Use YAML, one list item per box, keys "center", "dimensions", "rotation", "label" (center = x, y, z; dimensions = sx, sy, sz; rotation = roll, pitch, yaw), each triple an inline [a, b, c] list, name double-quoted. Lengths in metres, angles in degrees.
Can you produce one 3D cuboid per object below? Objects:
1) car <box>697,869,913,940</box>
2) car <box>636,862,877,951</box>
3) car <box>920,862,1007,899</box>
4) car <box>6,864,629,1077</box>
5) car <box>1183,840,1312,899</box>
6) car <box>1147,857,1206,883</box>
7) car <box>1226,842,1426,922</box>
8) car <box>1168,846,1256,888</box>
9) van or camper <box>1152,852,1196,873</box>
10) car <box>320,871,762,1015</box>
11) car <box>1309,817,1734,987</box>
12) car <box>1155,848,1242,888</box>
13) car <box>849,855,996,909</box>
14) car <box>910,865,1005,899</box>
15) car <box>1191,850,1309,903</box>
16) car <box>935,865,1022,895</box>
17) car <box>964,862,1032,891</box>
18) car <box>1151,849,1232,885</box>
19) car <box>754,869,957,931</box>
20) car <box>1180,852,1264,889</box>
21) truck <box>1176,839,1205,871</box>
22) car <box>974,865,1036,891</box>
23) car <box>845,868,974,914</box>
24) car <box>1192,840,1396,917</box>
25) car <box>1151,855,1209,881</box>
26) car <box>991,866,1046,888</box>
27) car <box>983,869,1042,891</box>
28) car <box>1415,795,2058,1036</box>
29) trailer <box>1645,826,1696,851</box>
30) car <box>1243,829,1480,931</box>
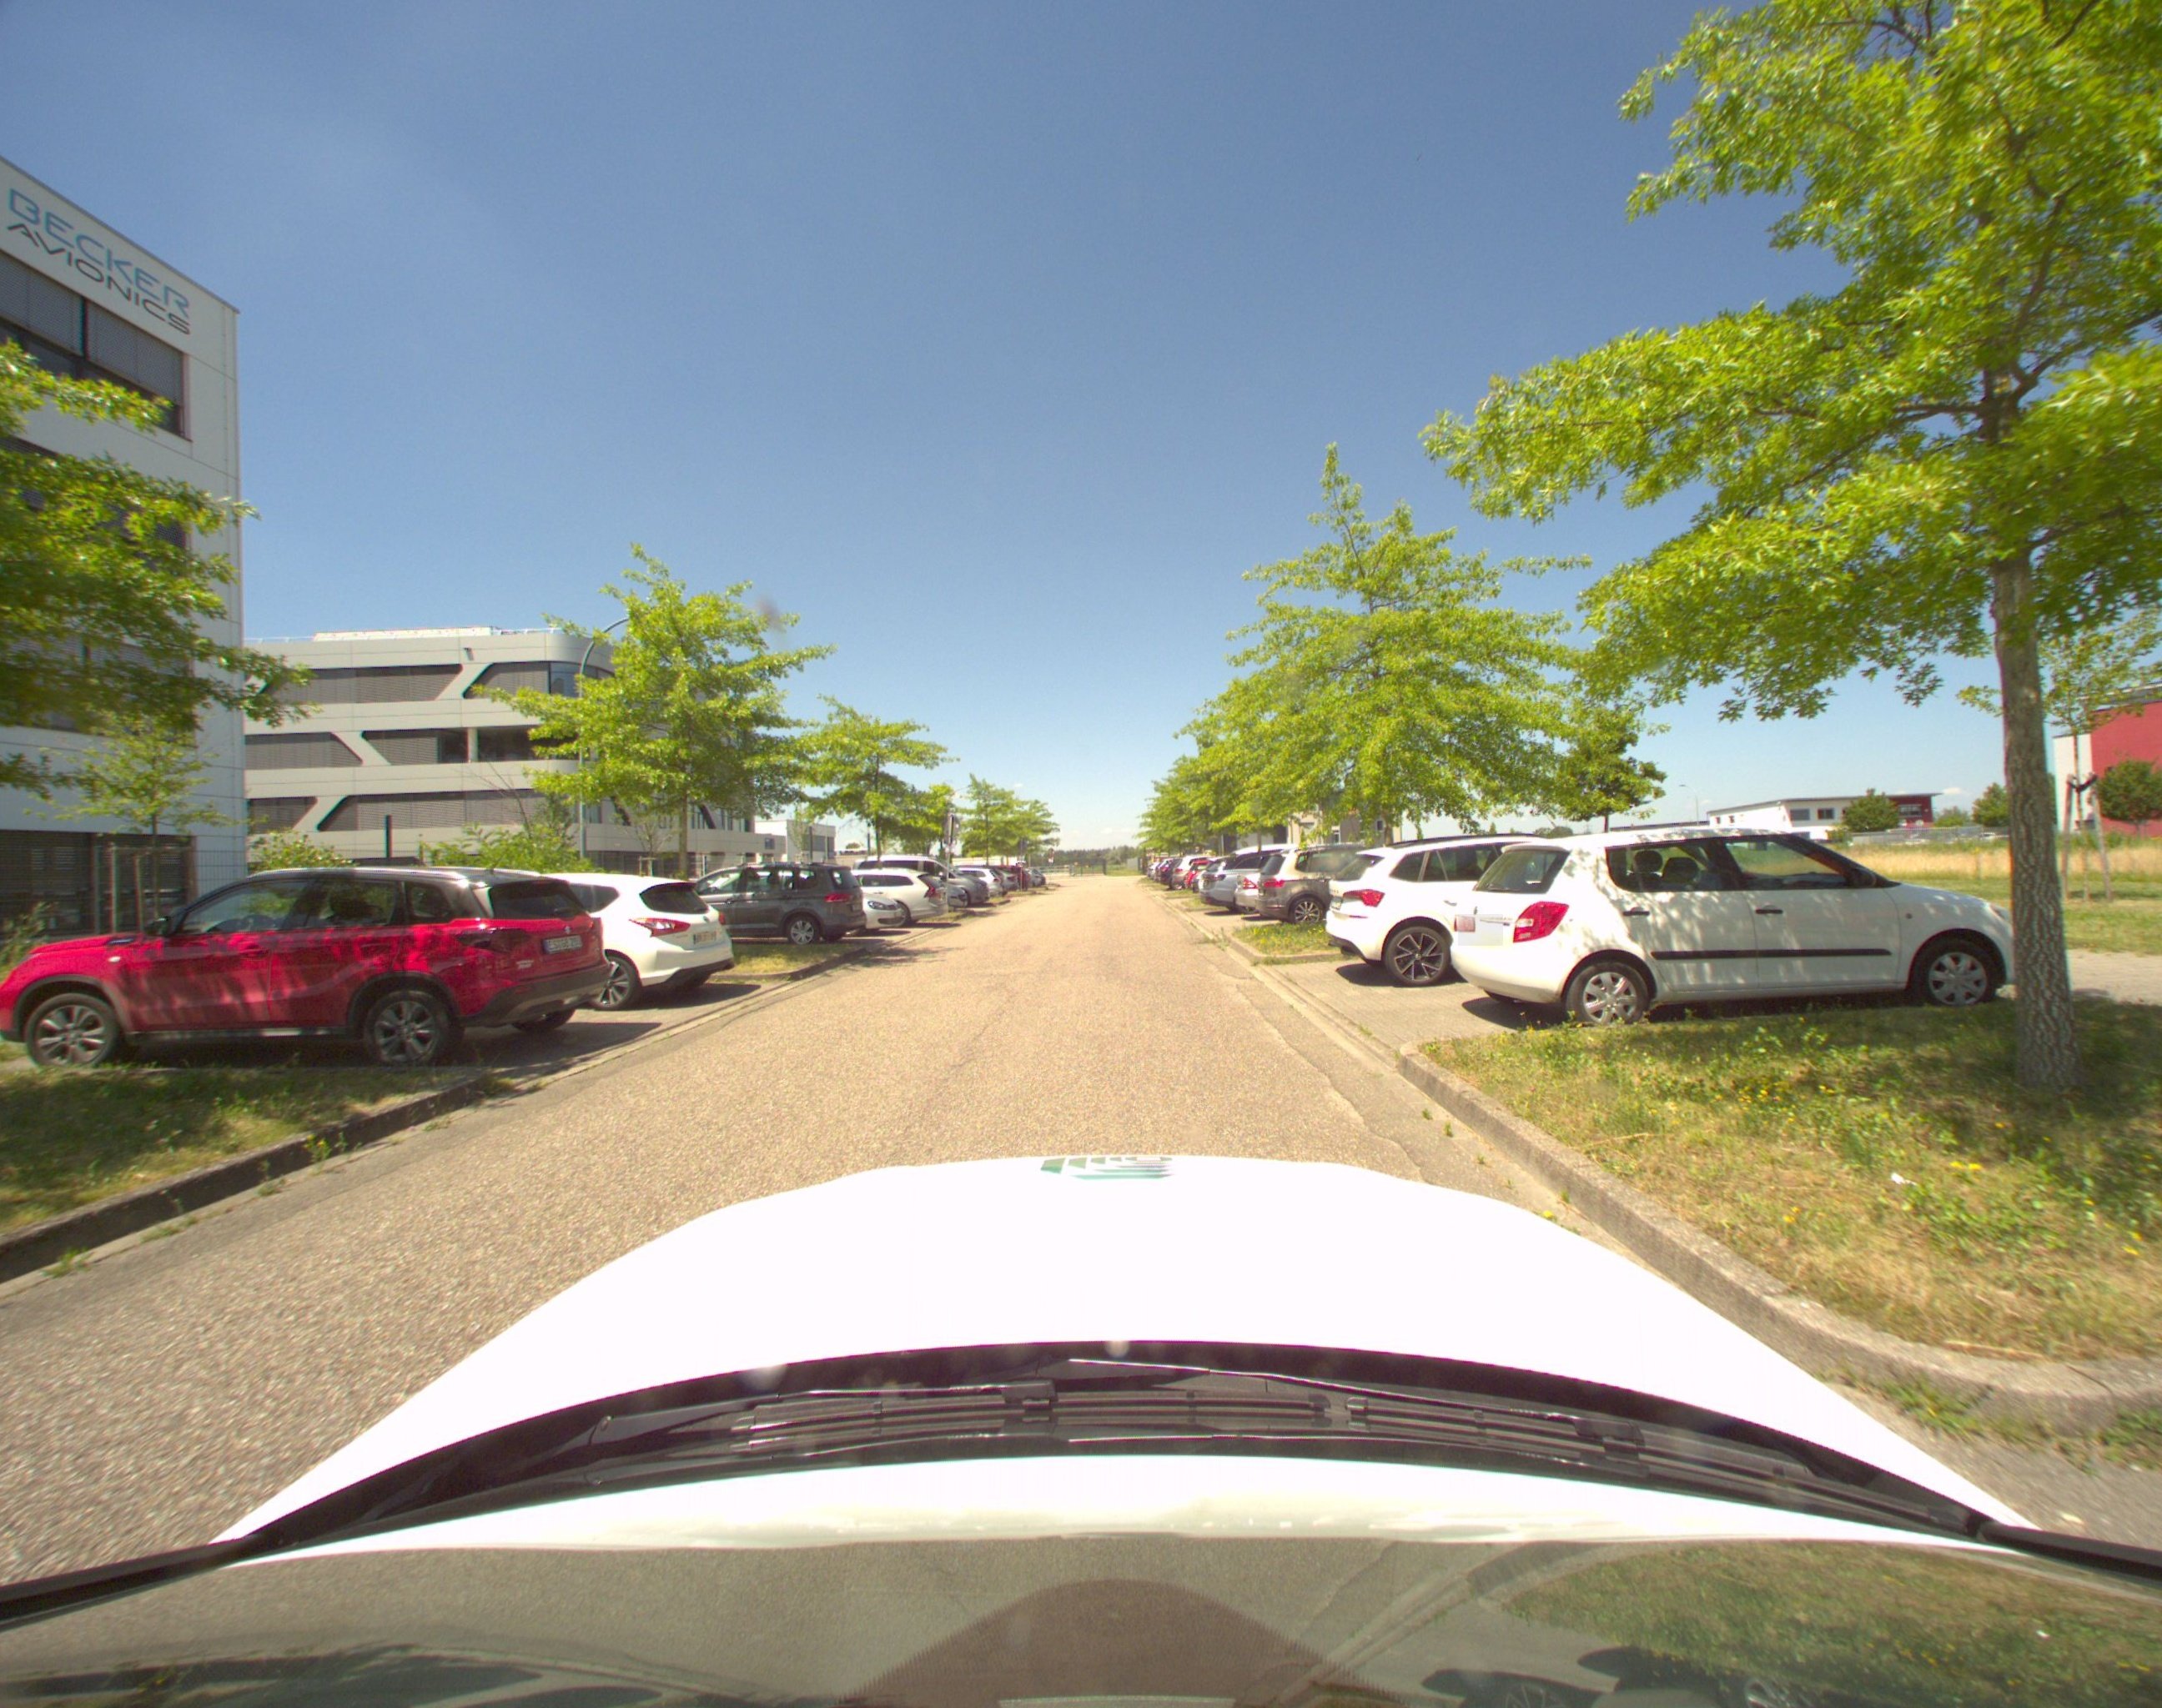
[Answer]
- center: [-6.167, 1.110, 18.524]
  dimensions: [4.297, 1.473, 1.727]
  rotation: [-1, 0, -1]
  label: "car"
- center: [-6.394, 1.000, 16.338]
  dimensions: [4.103, 1.634, 1.728]
  rotation: [-1, 0, 1]
  label: "car"
- center: [-5.624, 1.260, 39.362]
  dimensions: [3.978, 1.678, 1.775]
  rotation: [0, -1, -3]
  label: "car"
- center: [-6.409, 0.915, 7.203]
  dimensions: [3.827, 1.592, 1.727]
  rotation: [-1, 0, -1]
  label: "car"
- center: [6.139, 0.566, 30.399]
  dimensions: [4.385, 1.830, 1.797]
  rotation: [-4, -1, 2]
  label: "car"
- center: [7.276, 1.211, 62.384]
  dimensions: [4.263, 1.644, 1.851]
  rotation: [-4, -1, 2]
  label: "car"
- center: [5.483, 0.628, 18.616]
  dimensions: [4.031, 1.453, 1.646]
  rotation: [-4, -1, 2]
  label: "car"
- center: [6.230, 0.625, 39.052]
  dimensions: [3.860, 1.678, 1.783]
  rotation: [-4, -1, 2]
  label: "car"
- center: [10.923, 1.015, 95.854]
  dimensions: [4.919, 2.163, 2.000]
  rotation: [-3, 0, 1]
  label: "van or camper"
- center: [-6.307, 1.001, 9.845]
  dimensions: [4.154, 1.513, 1.809]
  rotation: [0, 0, 3]
  label: "car"
- center: [4.710, 0.509, 9.241]
  dimensions: [3.814, 1.553, 1.783]
  rotation: [-3, 0, 7]
  label: "car"
- center: [5.978, 0.709, 41.766]
  dimensions: [4.159, 1.696, 1.782]
  rotation: [-4, -1, 0]
  label: "car"
- center: [-5.893, 1.029, 30.647]
  dimensions: [5.048, 1.892, 1.999]
  rotation: [-1, -1, 3]
  label: "car"
- center: [-5.501, 1.245, 36.586]
  dimensions: [4.025, 1.461, 1.603]
  rotation: [0, -1, -1]
  label: "car"
- center: [5.685, 0.754, 27.737]
  dimensions: [3.617, 1.503, 1.677]
  rotation: [-4, -1, 2]
  label: "car"
- center: [-5.228, 1.312, 41.759]
  dimensions: [4.177, 1.480, 1.713]
  rotation: [0, -1, 2]
  label: "car"
- center: [-4.880, 1.307, 48.006]
  dimensions: [3.723, 1.621, 1.817]
  rotation: [-1, -1, 2]
  label: "car"
- center: [6.465, 0.772, 48.069]
  dimensions: [4.435, 1.768, 1.992]
  rotation: [-4, -1, -1]
  label: "car"
- center: [-5.684, 1.147, 20.993]
  dimensions: [4.700, 1.447, 1.856]
  rotation: [-1, 0, -2]
  label: "car"
- center: [6.326, 0.744, 36.822]
  dimensions: [3.445, 1.417, 1.755]
  rotation: [-4, -1, 1]
  label: "car"
- center: [14.397, 0.141, 107.298]
  dimensions: [2.911, 3.929, 6.937]
  rotation: [-3, -1, 1]
  label: "truck"
- center: [-4.688, 1.470, 50.616]
  dimensions: [3.647, 1.508, 1.730]
  rotation: [-1, -1, -2]
  label: "car"
- center: [-5.784, 1.223, 27.721]
  dimensions: [3.953, 1.484, 1.764]
  rotation: [0, -1, 2]
  label: "car"
- center: [5.410, 0.611, 21.127]
  dimensions: [4.704, 1.561, 1.912]
  rotation: [-4, -1, -2]
  label: "car"
- center: [7.241, 1.017, 59.842]
  dimensions: [3.973, 1.644, 1.838]
  rotation: [-4, -1, 1]
  label: "car"
- center: [-4.576, 1.668, 59.937]
  dimensions: [3.916, 1.521, 1.784]
  rotation: [-1, -1, -1]
  label: "car"
- center: [-4.799, 1.819, 57.459]
  dimensions: [4.065, 1.424, 1.872]
  rotation: [-1, -1, -2]
  label: "car"
- center: [5.076, 0.457, 6.767]
  dimensions: [3.820, 1.524, 1.780]
  rotation: [-3, -1, 1]
  label: "car"
- center: [66.349, -1.716, 91.707]
  dimensions: [3.974, 2.600, 2.233]
  rotation: [-3, -1, 0]
  label: "trailer"
- center: [5.401, 0.494, 16.074]
  dimensions: [4.031, 1.625, 1.694]
  rotation: [-4, -1, 2]
  label: "car"
